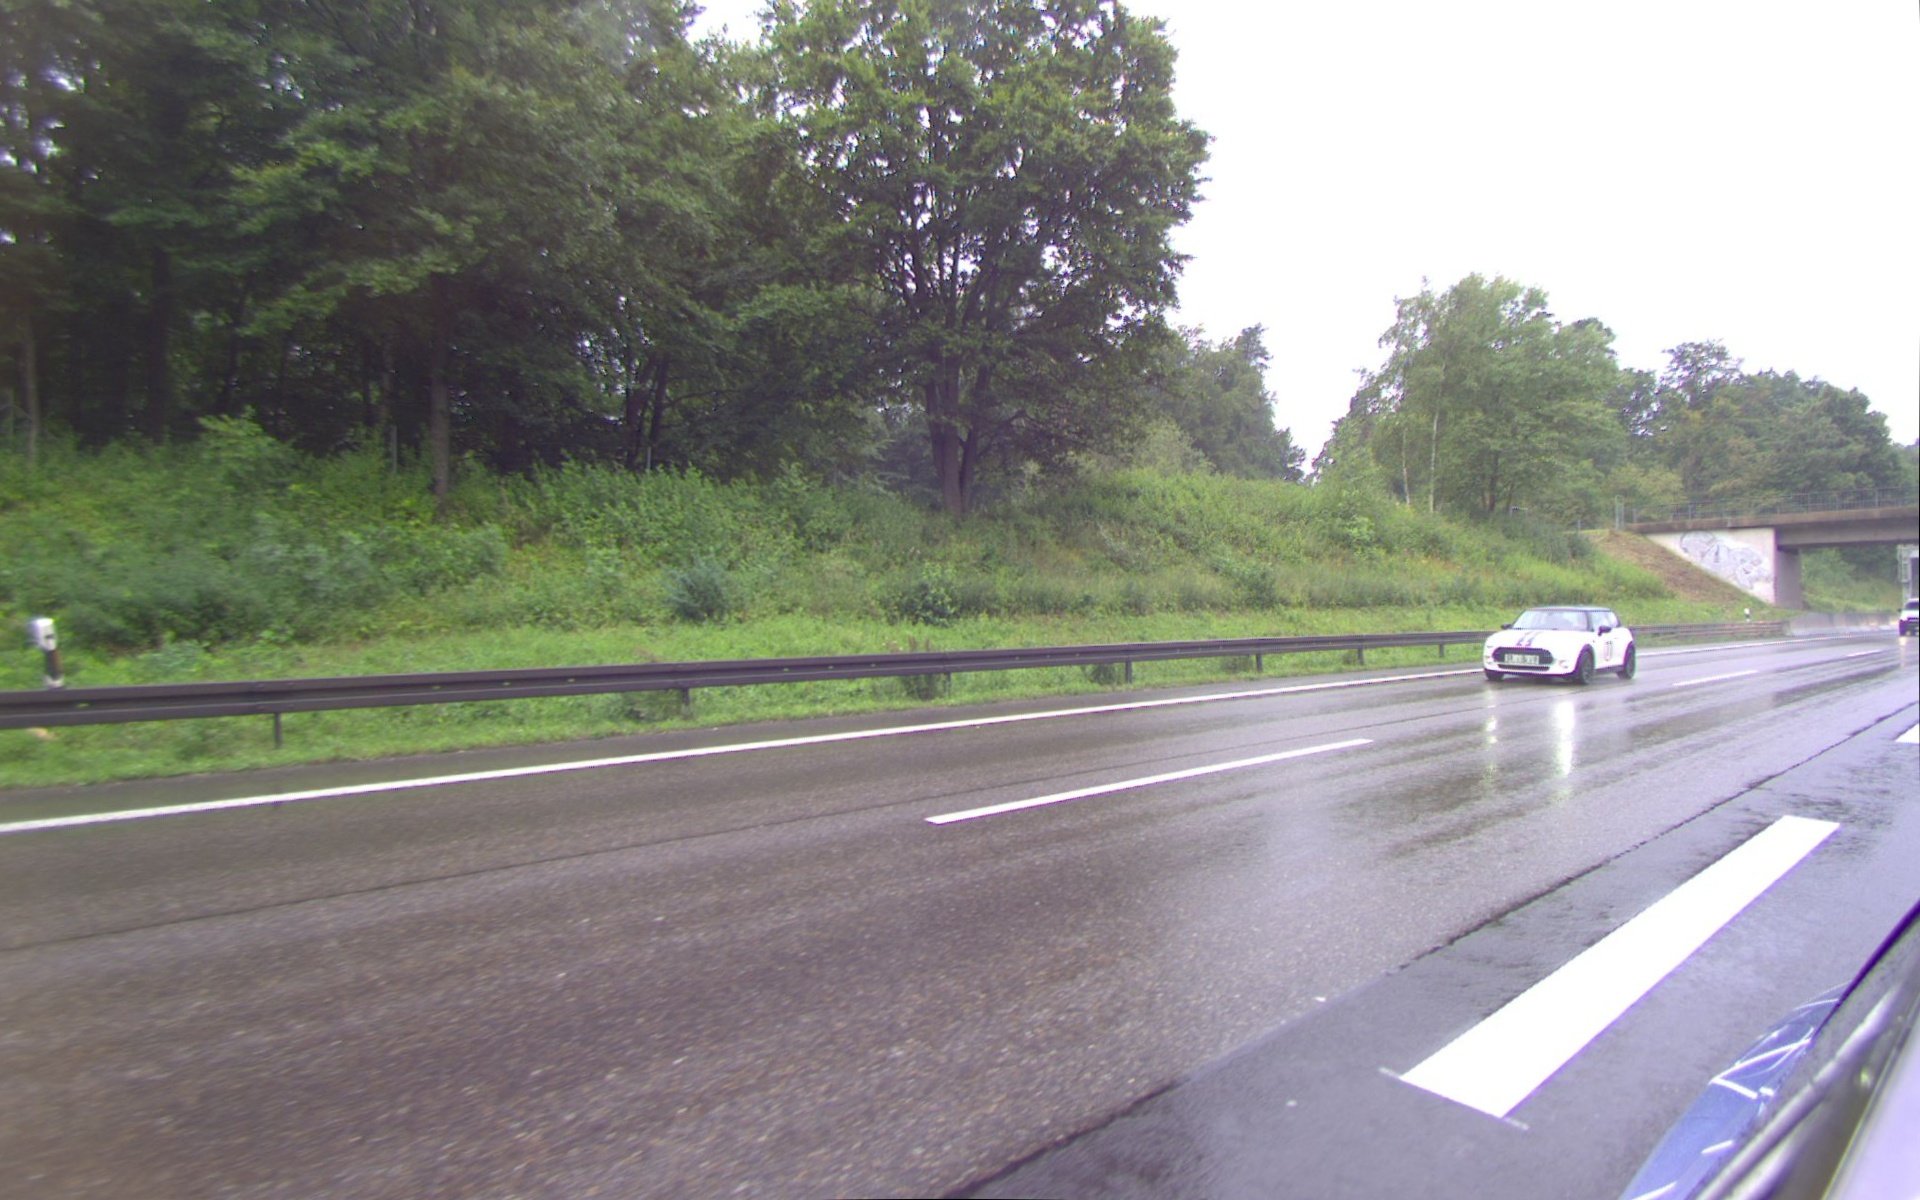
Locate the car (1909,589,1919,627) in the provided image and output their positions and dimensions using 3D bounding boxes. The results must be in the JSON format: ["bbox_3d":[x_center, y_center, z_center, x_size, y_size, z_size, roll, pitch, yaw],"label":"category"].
[{"bbox_3d":[50.886,0.422,52.414,4.682,1.945,1.994,0,0,-40],"label":"car"}]

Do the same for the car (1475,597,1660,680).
[{"bbox_3d":[11.738,0.660,19.470,4.152,1.425,1.794,0,0,-40],"label":"car"}]
